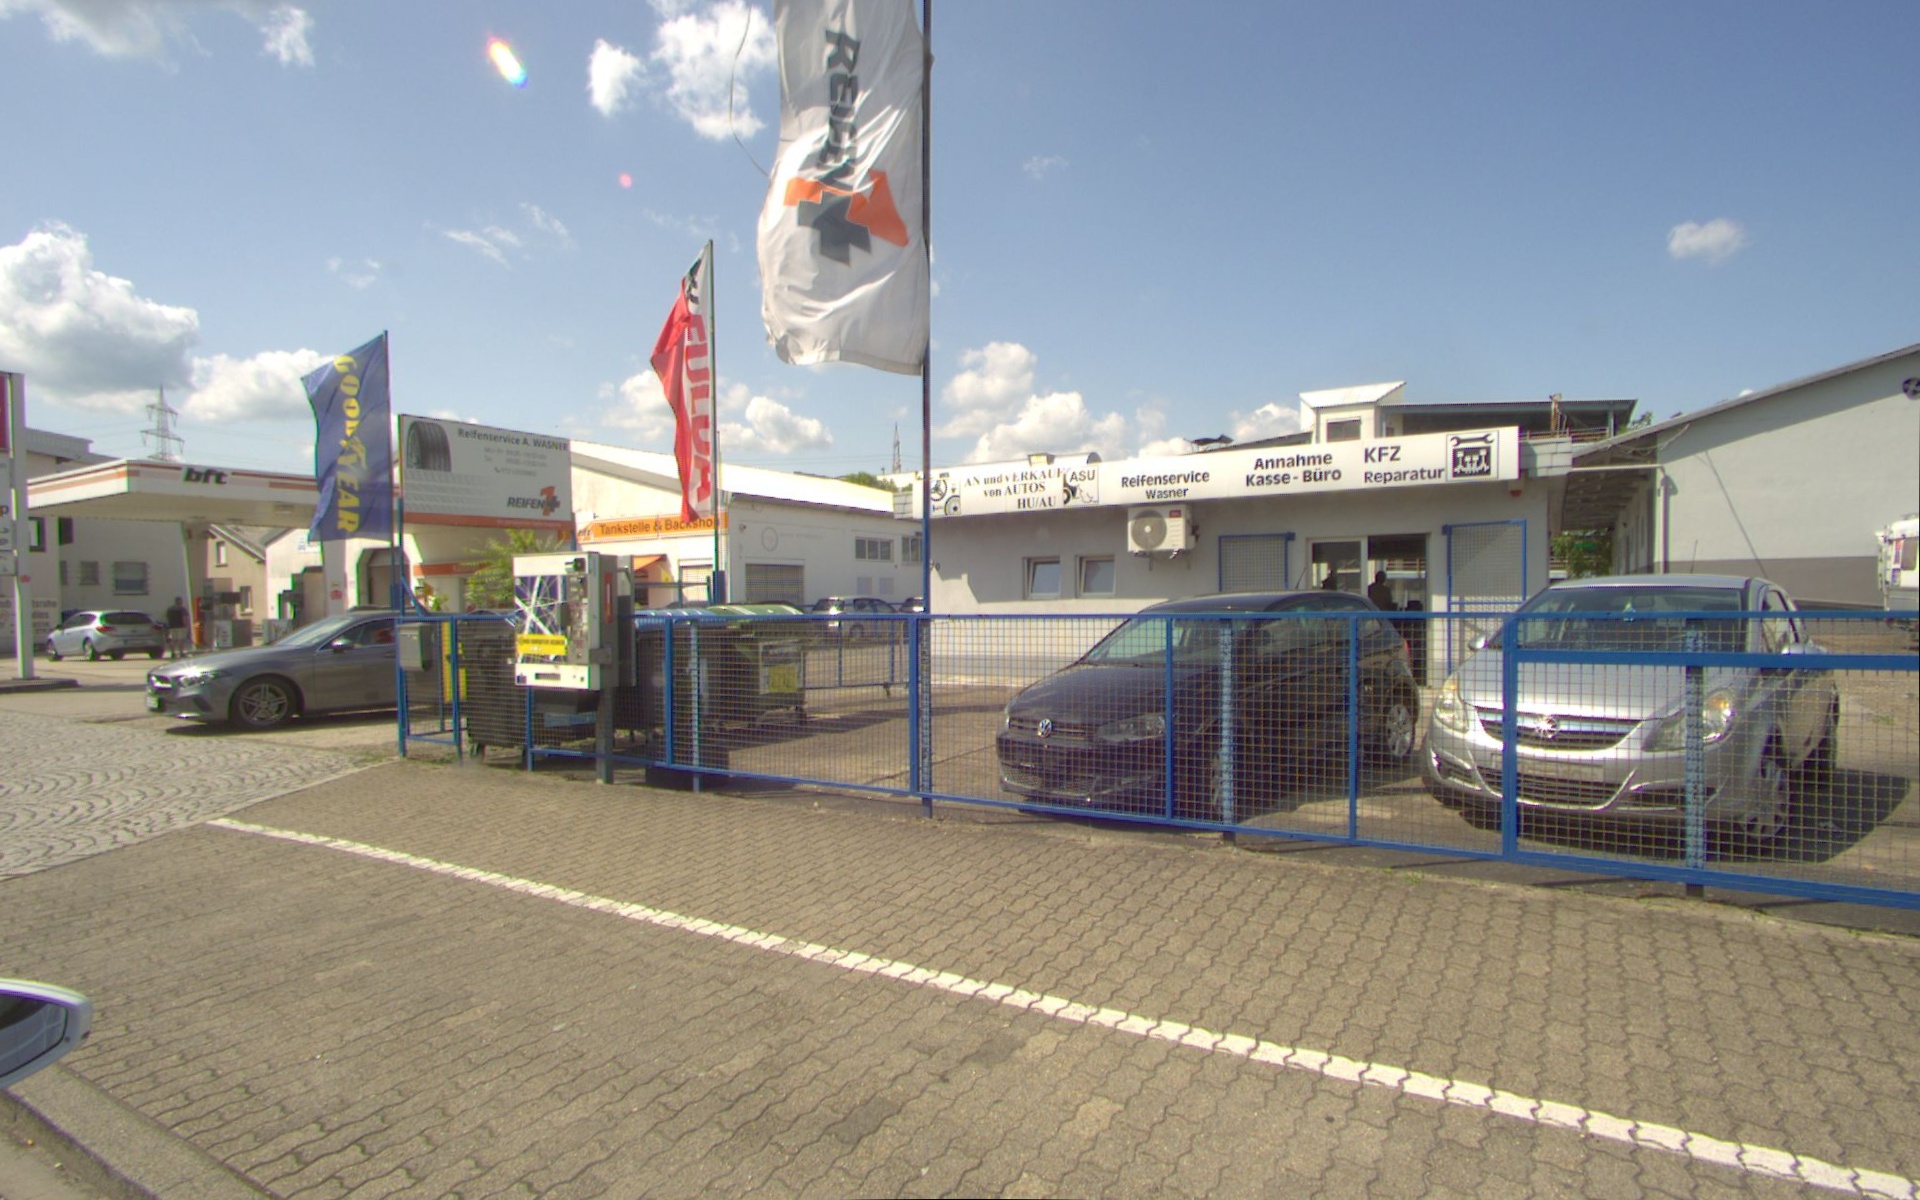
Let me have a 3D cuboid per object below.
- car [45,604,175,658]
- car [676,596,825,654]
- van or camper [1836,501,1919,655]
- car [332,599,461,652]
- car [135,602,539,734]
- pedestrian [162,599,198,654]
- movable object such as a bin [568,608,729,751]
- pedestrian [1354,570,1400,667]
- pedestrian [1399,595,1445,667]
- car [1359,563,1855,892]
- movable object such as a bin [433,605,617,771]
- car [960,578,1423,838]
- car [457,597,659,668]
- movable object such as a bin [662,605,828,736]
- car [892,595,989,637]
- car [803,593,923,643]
[{"bbox_3d":[-25.737,0.899,30.311,3.776,1.523,1.803,-1,0,30],"label":"car"},{"bbox_3d":[-5.719,0.640,27.822,1.564,1.482,4.187,0,0,33],"label":"car"},{"bbox_3d":[21.013,-0.455,19.530,5.571,3.005,2.264,0,1,31],"label":"van or camper"},{"bbox_3d":[-17.310,0.746,30.728,3.777,1.523,1.803,-1,0,31],"label":"car"},{"bbox_3d":[-8.049,0.763,13.303,1.654,1.434,4.253,0,0,40],"label":"car"},{"bbox_3d":[-23.777,0.799,30.521,0.698,1.679,0.546,-1,1,-22],"label":"pedestrian"},{"bbox_3d":[-3.329,0.800,10.741,1.225,1.415,1.106,0,1,31],"label":"movable object such as a bin"},{"bbox_3d":[7.350,0.318,17.648,0.654,1.671,0.563,0,1,34],"label":"pedestrian"},{"bbox_3d":[8.045,0.531,17.441,0.654,1.225,0.563,0,1,34],"label":"pedestrian"},{"bbox_3d":[4.270,0.559,6.383,3.729,1.472,1.757,-1,0,-42],"label":"car"},{"bbox_3d":[-4.162,0.784,9.610,1.225,1.455,1.106,0,1,31],"label":"movable object such as a bin"},{"bbox_3d":[1.886,0.600,7.496,3.655,1.472,1.625,-1,0,-43],"label":"car"},{"bbox_3d":[-9.166,0.687,23.167,1.564,1.482,4.187,0,0,33],"label":"car"},{"bbox_3d":[-2.535,0.781,11.905,1.318,1.414,1.400,0,1,31],"label":"movable object such as a bin"},{"bbox_3d":[-0.640,0.532,35.739,1.564,1.385,3.860,0,0,33],"label":"car"},{"bbox_3d":[-3.016,0.525,32.053,1.564,1.482,4.187,0,0,33],"label":"car"}]
